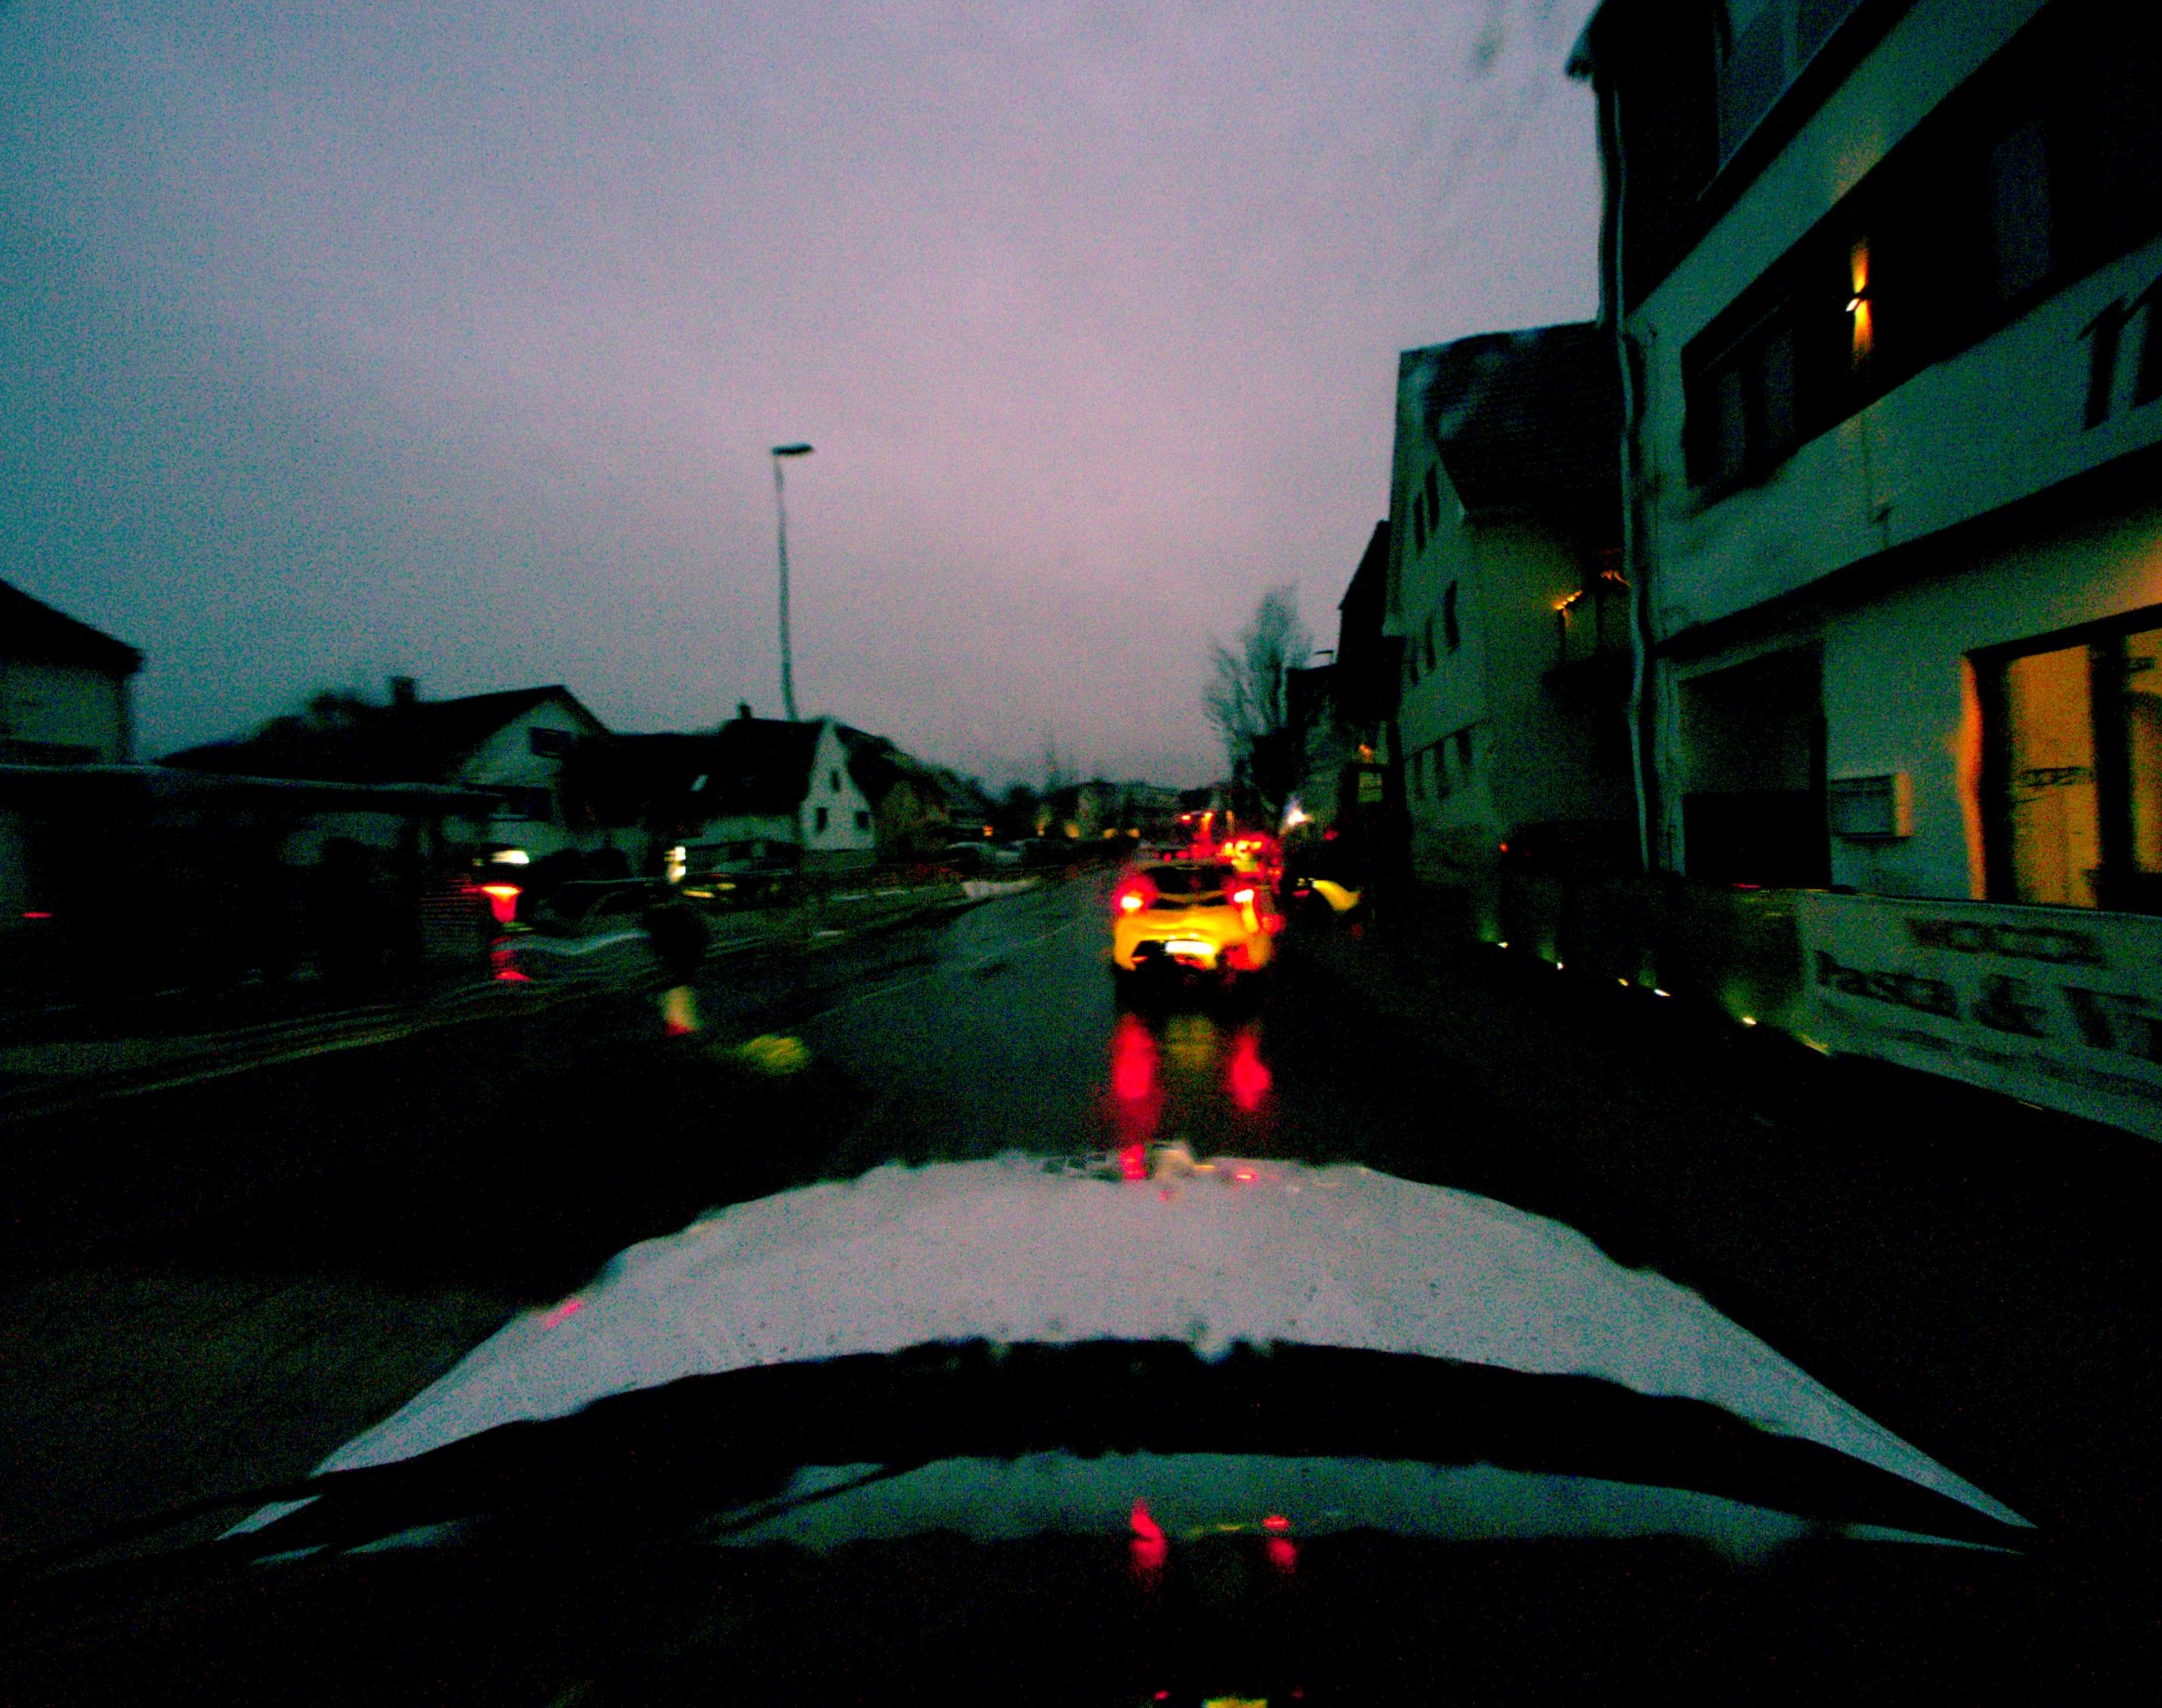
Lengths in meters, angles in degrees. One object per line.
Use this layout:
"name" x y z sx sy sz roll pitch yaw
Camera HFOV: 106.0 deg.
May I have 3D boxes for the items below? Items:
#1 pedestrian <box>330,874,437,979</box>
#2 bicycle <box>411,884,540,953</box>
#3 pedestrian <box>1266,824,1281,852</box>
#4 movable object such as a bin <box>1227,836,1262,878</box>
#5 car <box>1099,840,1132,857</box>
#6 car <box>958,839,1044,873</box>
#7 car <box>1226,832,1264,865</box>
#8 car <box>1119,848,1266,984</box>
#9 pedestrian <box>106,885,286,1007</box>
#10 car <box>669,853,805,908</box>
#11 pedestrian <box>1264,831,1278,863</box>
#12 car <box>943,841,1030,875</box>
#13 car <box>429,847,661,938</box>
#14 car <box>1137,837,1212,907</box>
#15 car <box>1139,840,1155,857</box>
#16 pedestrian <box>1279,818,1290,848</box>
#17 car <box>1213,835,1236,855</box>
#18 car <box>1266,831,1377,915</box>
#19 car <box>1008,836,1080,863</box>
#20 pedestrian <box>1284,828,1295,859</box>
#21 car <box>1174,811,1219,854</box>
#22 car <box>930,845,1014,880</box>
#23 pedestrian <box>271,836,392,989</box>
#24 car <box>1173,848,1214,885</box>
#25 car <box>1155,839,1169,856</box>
"pedestrian" -9.009 0.916 10.537 0.681 1.271 0.753 -1 1 12
"bicycle" -10.461 1.086 14.139 0.465 1.010 1.749 -3 0 24
"pedestrian" 12.379 -1.010 52.287 0.706 1.715 1.040 -3 1 21
"movable object such as a bin" 6.110 0.109 30.538 1.122 1.420 1.421 -5 1 10
"car" 4.597 -0.675 109.414 2.010 2.166 4.336 0 -2 -38
"car" -4.082 0.082 41.901 4.067 1.608 1.592 -2 0 11
"car" 9.332 -0.321 46.600 1.726 1.692 4.395 -3 1 7
"car" 1.403 0.664 10.285 1.554 1.412 3.025 -1 1 8
"pedestrian" -9.489 0.951 8.762 0.980 1.158 0.906 -1 2 17
"car" -11.104 0.802 26.683 1.791 1.482 4.585 -5 0 10
"pedestrian" 10.523 -0.389 45.052 0.570 1.699 0.655 -4 0 9
"car" -4.591 0.166 39.573 3.766 1.523 1.721 -2 0 14
"car" -12.669 0.821 19.691 1.742 1.700 4.582 -5 1 14
"car" 2.487 0.404 21.301 1.757 1.628 3.594 -1 1 8
"car" 8.303 -0.684 102.099 1.910 2.027 3.981 -1 -1 6
"pedestrian" 11.637 -1.180 46.543 0.525 1.653 0.958 -1 -1 18
"car" 13.763 -0.868 78.430 1.986 1.865 4.093 -2 0 8
"car" 5.061 0.304 17.642 1.718 1.464 4.211 -5 1 10
"car" -2.497 -0.294 55.768 4.603 1.667 2.003 -2 0 5
"pedestrian" 12.458 -0.624 48.609 0.525 1.800 0.868 -2 0 18
"car" 9.040 -1.598 64.282 3.175 3.031 6.314 -1 -1 5
"car" -4.899 0.384 36.890 3.426 1.372 1.604 -3 1 7
"pedestrian" -8.861 0.671 9.655 0.743 1.742 0.689 -1 1 8
"car" 4.541 0.473 32.783 1.532 1.331 3.319 -1 1 8
"car" 10.929 -0.844 109.741 1.910 2.215 3.981 -1 -1 6
